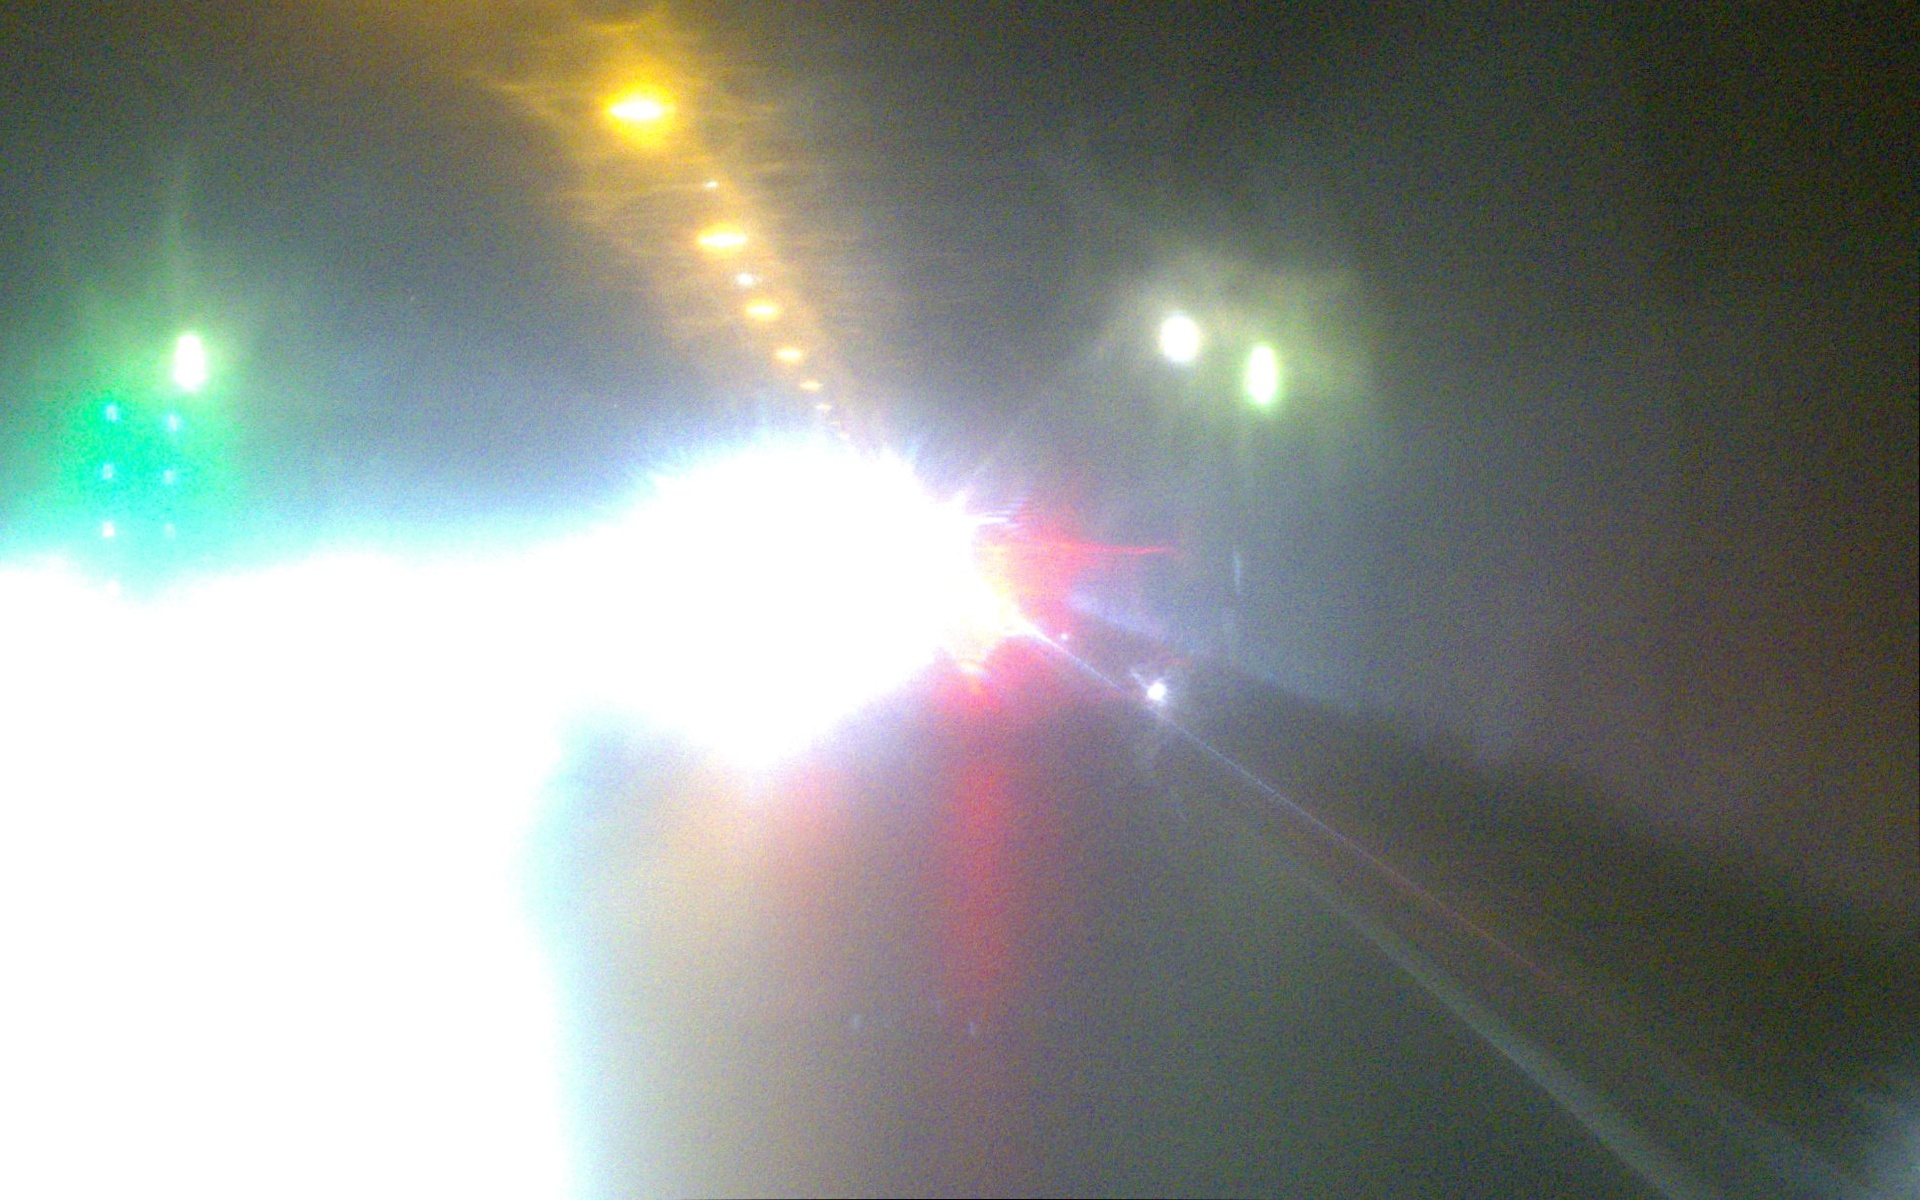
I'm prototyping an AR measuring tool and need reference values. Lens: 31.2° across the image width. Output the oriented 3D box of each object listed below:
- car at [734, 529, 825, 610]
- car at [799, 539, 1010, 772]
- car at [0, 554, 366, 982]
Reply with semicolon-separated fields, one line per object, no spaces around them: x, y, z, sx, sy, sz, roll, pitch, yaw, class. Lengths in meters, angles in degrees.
-4.698;-0.813;89.862;2.211;2.006;4.001;0;2;-1;car
-0.413;0.399;28.857;1.635;1.752;4.146;0;2;1;car
-3.620;0.558;14.039;1.777;1.404;4.294;0;2;-2;car
